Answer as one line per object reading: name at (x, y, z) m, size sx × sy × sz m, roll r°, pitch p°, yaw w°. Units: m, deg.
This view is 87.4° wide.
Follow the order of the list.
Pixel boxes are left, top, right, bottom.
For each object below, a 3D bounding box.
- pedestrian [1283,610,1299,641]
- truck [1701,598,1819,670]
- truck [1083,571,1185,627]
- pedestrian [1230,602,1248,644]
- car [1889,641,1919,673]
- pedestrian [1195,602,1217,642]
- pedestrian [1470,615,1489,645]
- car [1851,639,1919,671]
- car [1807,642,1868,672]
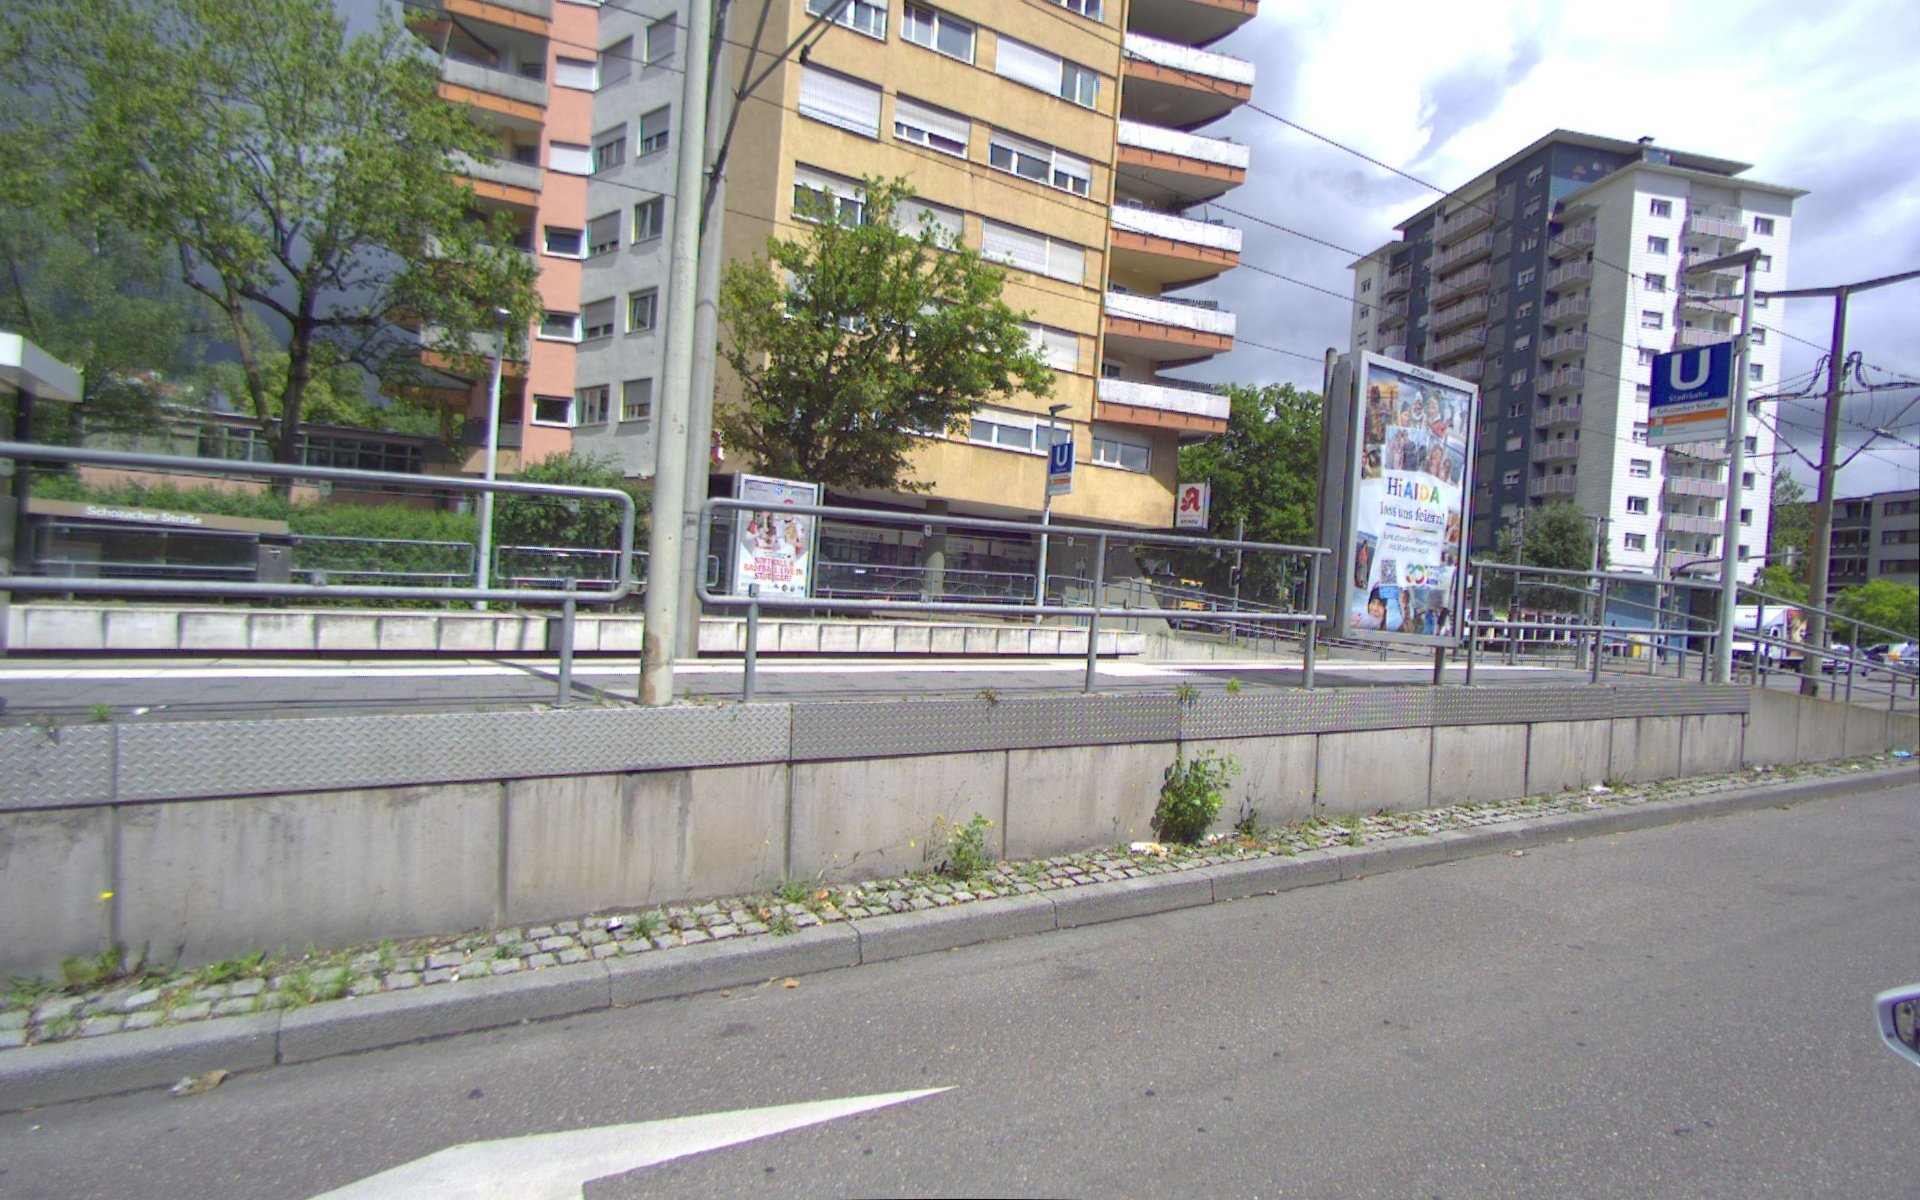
pedestrian at (18.193, 1.405, 55.195) m, size 0.708 × 1.693 × 0.365 m, roll 2°, pitch 1°, yaw -27°
truck at (37.963, 1.637, 47.566) m, size 7.244 × 3.159 × 2.267 m, roll 2°, pitch 0°, yaw -34°
truck at (7.753, -0.098, 45.078) m, size 2.323 × 2.320 × 4.260 m, roll 2°, pitch 0°, yaw -29°
pedestrian at (13.729, 1.108, 49.389) m, size 0.556 × 2.040 × 0.535 m, roll 2°, pitch 0°, yaw -33°
car at (57.260, 3.416, 59.980) m, size 3.732 × 1.780 × 1.583 m, roll 2°, pitch 0°, yaw -31°
pedestrian at (11.074, 0.993, 45.208) m, size 0.655 × 1.799 × 0.653 m, roll 2°, pitch 0°, yaw -32°
pedestrian at (35.617, 2.060, 68.867) m, size 0.831 × 2.040 × 0.861 m, roll 2°, pitch 0°, yaw -2°
car at (63.826, 3.781, 68.756) m, size 3.846 × 2.001 × 1.657 m, roll 2°, pitch 0°, yaw 18°
car at (46.499, 3.036, 53.235) m, size 3.733 × 1.480 × 1.399 m, roll 2°, pitch 0°, yaw -32°
